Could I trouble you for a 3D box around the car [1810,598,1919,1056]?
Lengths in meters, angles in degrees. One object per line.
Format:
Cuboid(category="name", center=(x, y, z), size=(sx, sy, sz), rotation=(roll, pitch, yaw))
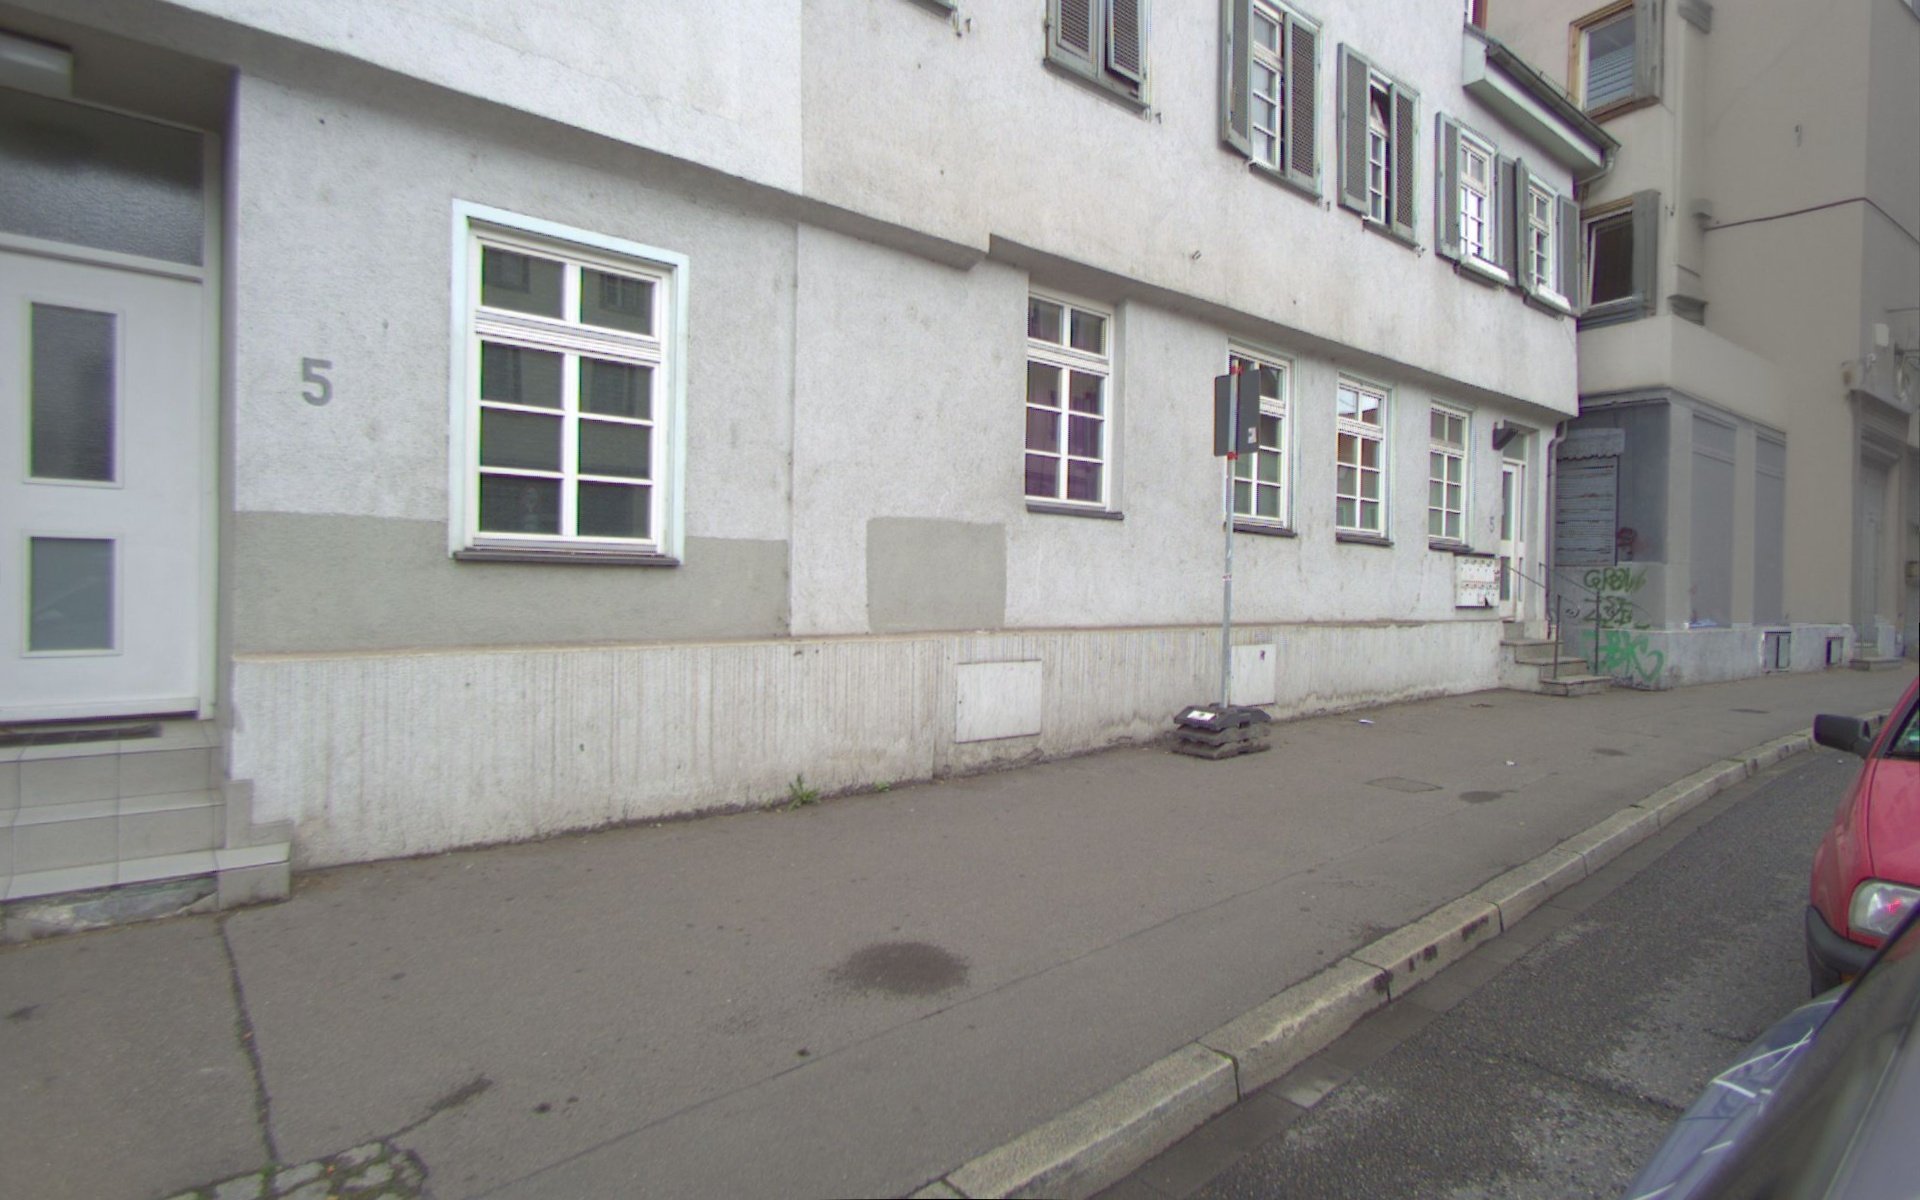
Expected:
Cuboid(category="car", center=(5.018, 0.733, 4.084), size=(3.930, 1.485, 1.802), rotation=(0, -2, -41))
